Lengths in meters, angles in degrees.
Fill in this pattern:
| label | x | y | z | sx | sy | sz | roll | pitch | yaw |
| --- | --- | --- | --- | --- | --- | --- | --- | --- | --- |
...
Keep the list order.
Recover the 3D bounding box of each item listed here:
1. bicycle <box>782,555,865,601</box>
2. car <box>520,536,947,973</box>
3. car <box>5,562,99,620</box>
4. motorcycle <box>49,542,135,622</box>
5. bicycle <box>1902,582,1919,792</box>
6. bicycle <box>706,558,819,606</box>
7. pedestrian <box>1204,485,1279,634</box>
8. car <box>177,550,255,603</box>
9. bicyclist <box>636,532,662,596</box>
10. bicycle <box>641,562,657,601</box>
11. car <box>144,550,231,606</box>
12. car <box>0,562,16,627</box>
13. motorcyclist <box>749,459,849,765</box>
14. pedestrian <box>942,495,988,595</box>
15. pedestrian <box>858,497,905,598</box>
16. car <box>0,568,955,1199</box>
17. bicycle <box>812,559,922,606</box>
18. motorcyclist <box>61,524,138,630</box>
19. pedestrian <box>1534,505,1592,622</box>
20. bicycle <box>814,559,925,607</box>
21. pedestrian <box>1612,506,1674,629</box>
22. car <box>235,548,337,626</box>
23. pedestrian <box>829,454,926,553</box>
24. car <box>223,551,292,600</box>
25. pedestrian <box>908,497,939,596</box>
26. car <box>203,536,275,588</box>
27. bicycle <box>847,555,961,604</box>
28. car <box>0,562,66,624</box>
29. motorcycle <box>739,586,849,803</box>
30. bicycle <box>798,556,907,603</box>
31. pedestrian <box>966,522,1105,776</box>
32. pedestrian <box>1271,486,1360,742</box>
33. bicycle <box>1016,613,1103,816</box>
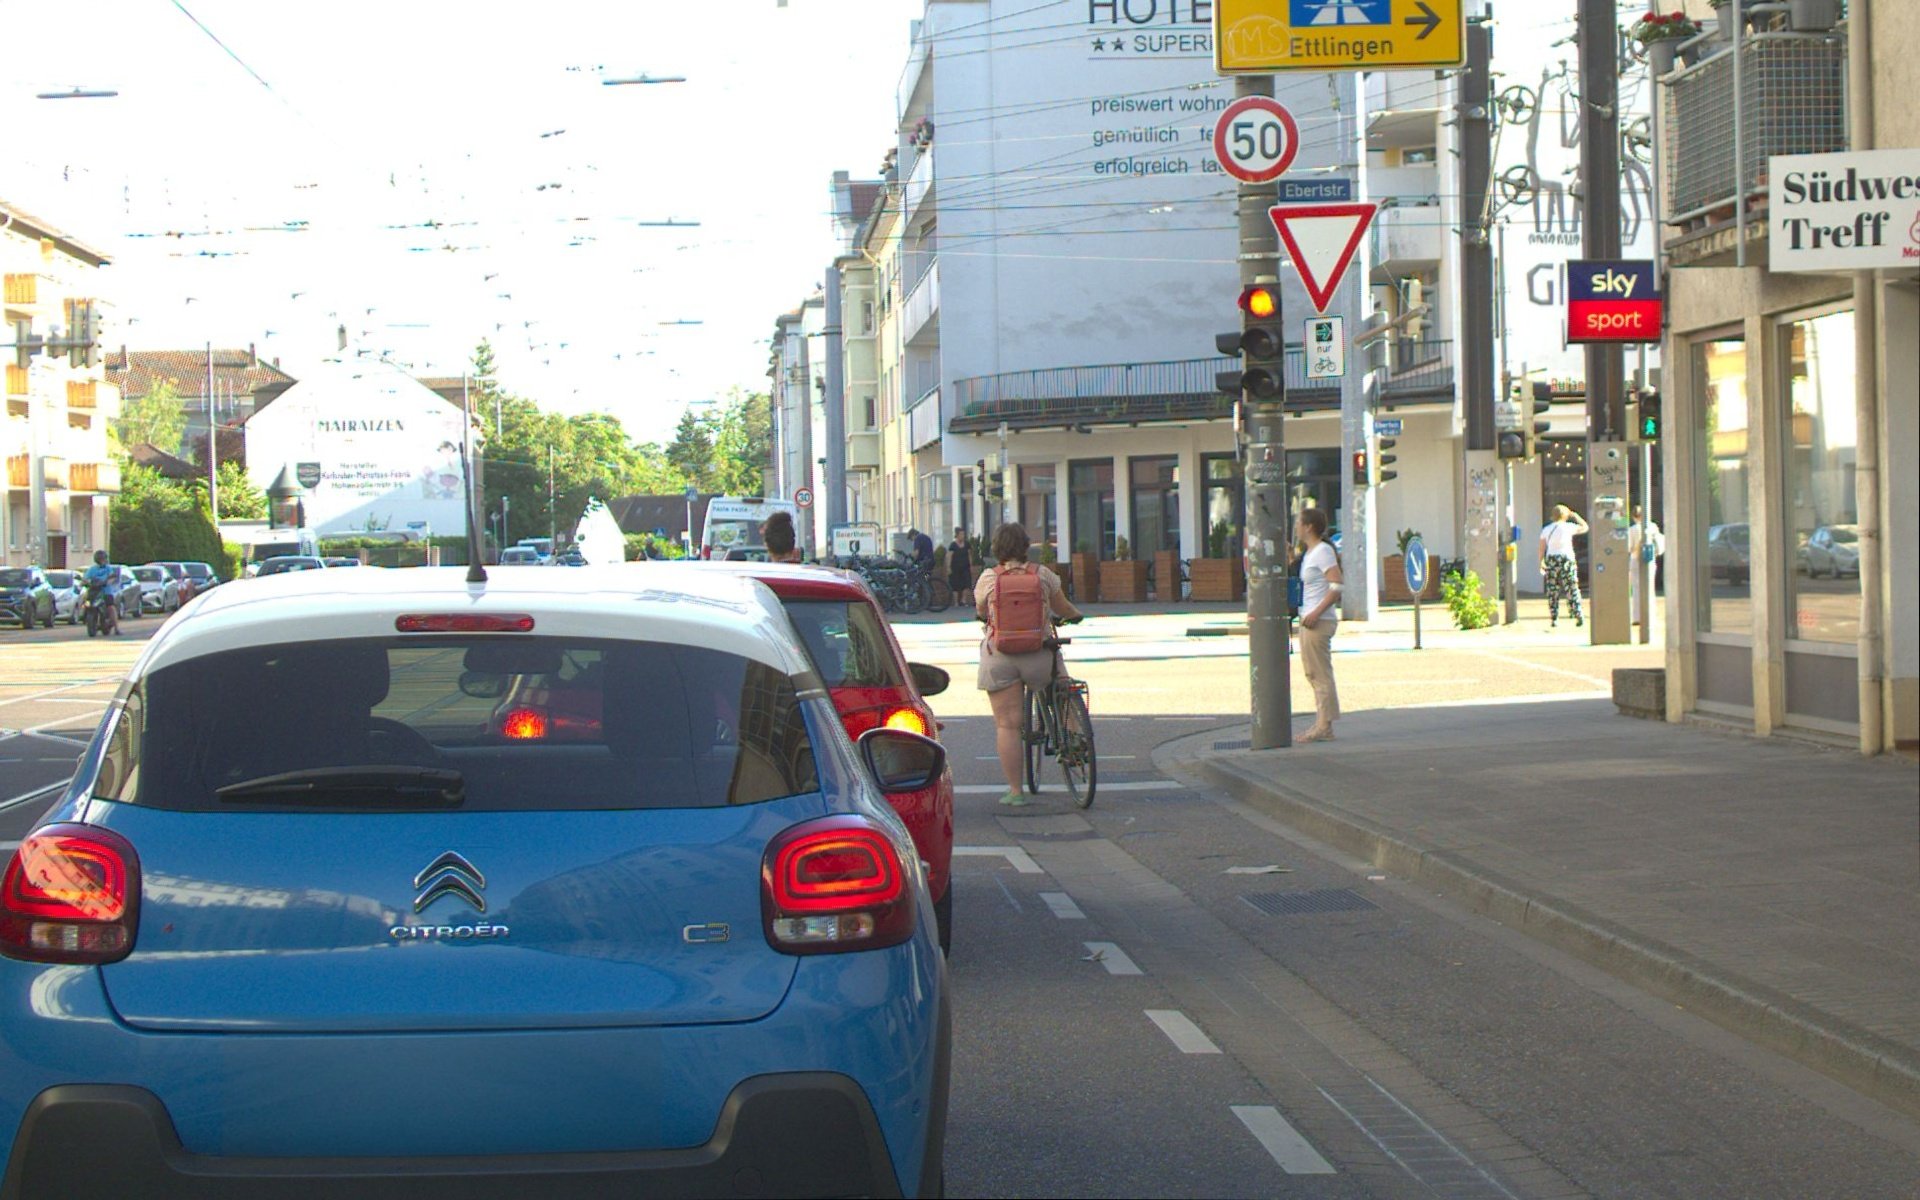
| label | x | y | z | sx | sy | sz | roll | pitch | yaw |
| --- | --- | --- | --- | --- | --- | --- | --- | --- | --- |
| bicycle | -2.758 | -0.440 | 69.413 | 1.785 | 0.898 | 0.366 | 1 | 1 | 34 |
| car | -0.790 | 0.517 | 13.212 | 1.424 | 1.462 | 2.924 | -1 | 0 | -1 |
| car | -24.279 | -0.267 | 92.055 | 1.732 | 1.493 | 4.001 | 1 | 1 | -5 |
| motorcycle | -16.773 | -0.355 | 66.499 | 0.923 | 1.481 | 3.726 | 1 | 1 | -3 |
| bicycle | 4.848 | 0.423 | 15.793 | 0.542 | 0.995 | 1.706 | 1 | 1 | -1 |
| bicycle | -3.810 | -0.349 | 66.234 | 2.132 | 0.898 | 0.367 | 1 | 0 | -9 |
| pedestrian | 3.846 | -0.550 | 46.954 | 0.926 | 2.007 | 0.759 | 1 | 0 | -1 |
| car | -24.035 | -0.770 | 111.225 | 1.882 | 1.681 | 4.001 | 1 | 1 | -4 |
| bicyclist | -7.232 | -0.844 | 79.916 | 0.561 | 1.472 | 0.748 | 1 | 0 | -5 |
| bicycle | -7.232 | -0.433 | 79.981 | 0.349 | 0.900 | 1.860 | 1 | 1 | -6 |
| car | -23.805 | -0.680 | 106.053 | 1.983 | 1.681 | 4.001 | 1 | 1 | -3 |
| car | -23.189 | -0.124 | 79.287 | 1.787 | 1.506 | 4.150 | 1 | 1 | -2 |
| motorcyclist | -0.914 | 0.065 | 19.623 | 0.526 | 1.710 | 0.717 | 1 | 0 | -1 |
| pedestrian | 0.094 | -1.121 | 69.716 | 0.709 | 2.007 | 0.760 | 1 | 0 | -18 |
| pedestrian | -1.585 | -1.055 | 69.212 | 0.630 | 2.007 | 0.724 | 0 | 0 | -36 |
| car | -0.865 | 0.667 | 7.172 | 1.654 | 1.439 | 3.523 | 1 | 1 | -1 |
| bicycle | -1.836 | -0.338 | 67.664 | 2.132 | 0.898 | 0.367 | 1 | 0 | -9 |
| motorcyclist | -16.757 | -0.458 | 66.966 | 1.185 | 2.007 | 1.276 | -1 | 1 | -3 |
| pedestrian | 8.332 | -0.510 | 47.489 | 0.736 | 1.595 | 0.748 | 1 | 0 | 13 |
| bicycle | -1.763 | -0.332 | 67.250 | 2.132 | 0.898 | 0.367 | 1 | 0 | -9 |
| pedestrian | 9.316 | -0.439 | 46.917 | 0.752 | 1.652 | 0.883 | 1 | 0 | 7 |
| car | -14.947 | -0.300 | 76.401 | 1.774 | 1.660 | 3.857 | 1 | 1 | -4 |
| pedestrian | -1.748 | -2.036 | 73.534 | 1.993 | 2.007 | 4.000 | 1 | 1 | -1 |
| car | -24.749 | -0.880 | 121.243 | 1.846 | 1.681 | 3.875 | 1 | 1 | -4 |
| pedestrian | -0.743 | -1.088 | 70.293 | 0.577 | 2.007 | 0.626 | 1 | 0 | -3 |
| car | -24.460 | -1.291 | 116.697 | 1.833 | 1.681 | 4.001 | 1 | 1 | -4 |
| bicycle | -1.072 | -0.395 | 65.934 | 2.132 | 0.898 | 0.367 | 1 | 0 | -9 |
| car | -23.688 | -0.183 | 86.051 | 1.785 | 1.493 | 4.001 | 1 | 1 | -4 |
| motorcycle | -0.921 | 0.500 | 19.440 | 0.526 | 1.136 | 2.290 | 1 | 1 | -1 |
| bicycle | -2.132 | -0.409 | 68.343 | 2.132 | 0.898 | 0.367 | 1 | 0 | -9 |
| pedestrian | 0.437 | 0.280 | 20.213 | 0.777 | 1.455 | 0.682 | 1 | 0 | -1 |
| pedestrian | 2.504 | 0.092 | 24.244 | 0.517 | 1.777 | 0.595 | 1 | 0 | -2 |
| bicycle | 0.580 | 0.651 | 20.506 | 0.427 | 1.119 | 1.998 | 1 | 1 | -1 |
